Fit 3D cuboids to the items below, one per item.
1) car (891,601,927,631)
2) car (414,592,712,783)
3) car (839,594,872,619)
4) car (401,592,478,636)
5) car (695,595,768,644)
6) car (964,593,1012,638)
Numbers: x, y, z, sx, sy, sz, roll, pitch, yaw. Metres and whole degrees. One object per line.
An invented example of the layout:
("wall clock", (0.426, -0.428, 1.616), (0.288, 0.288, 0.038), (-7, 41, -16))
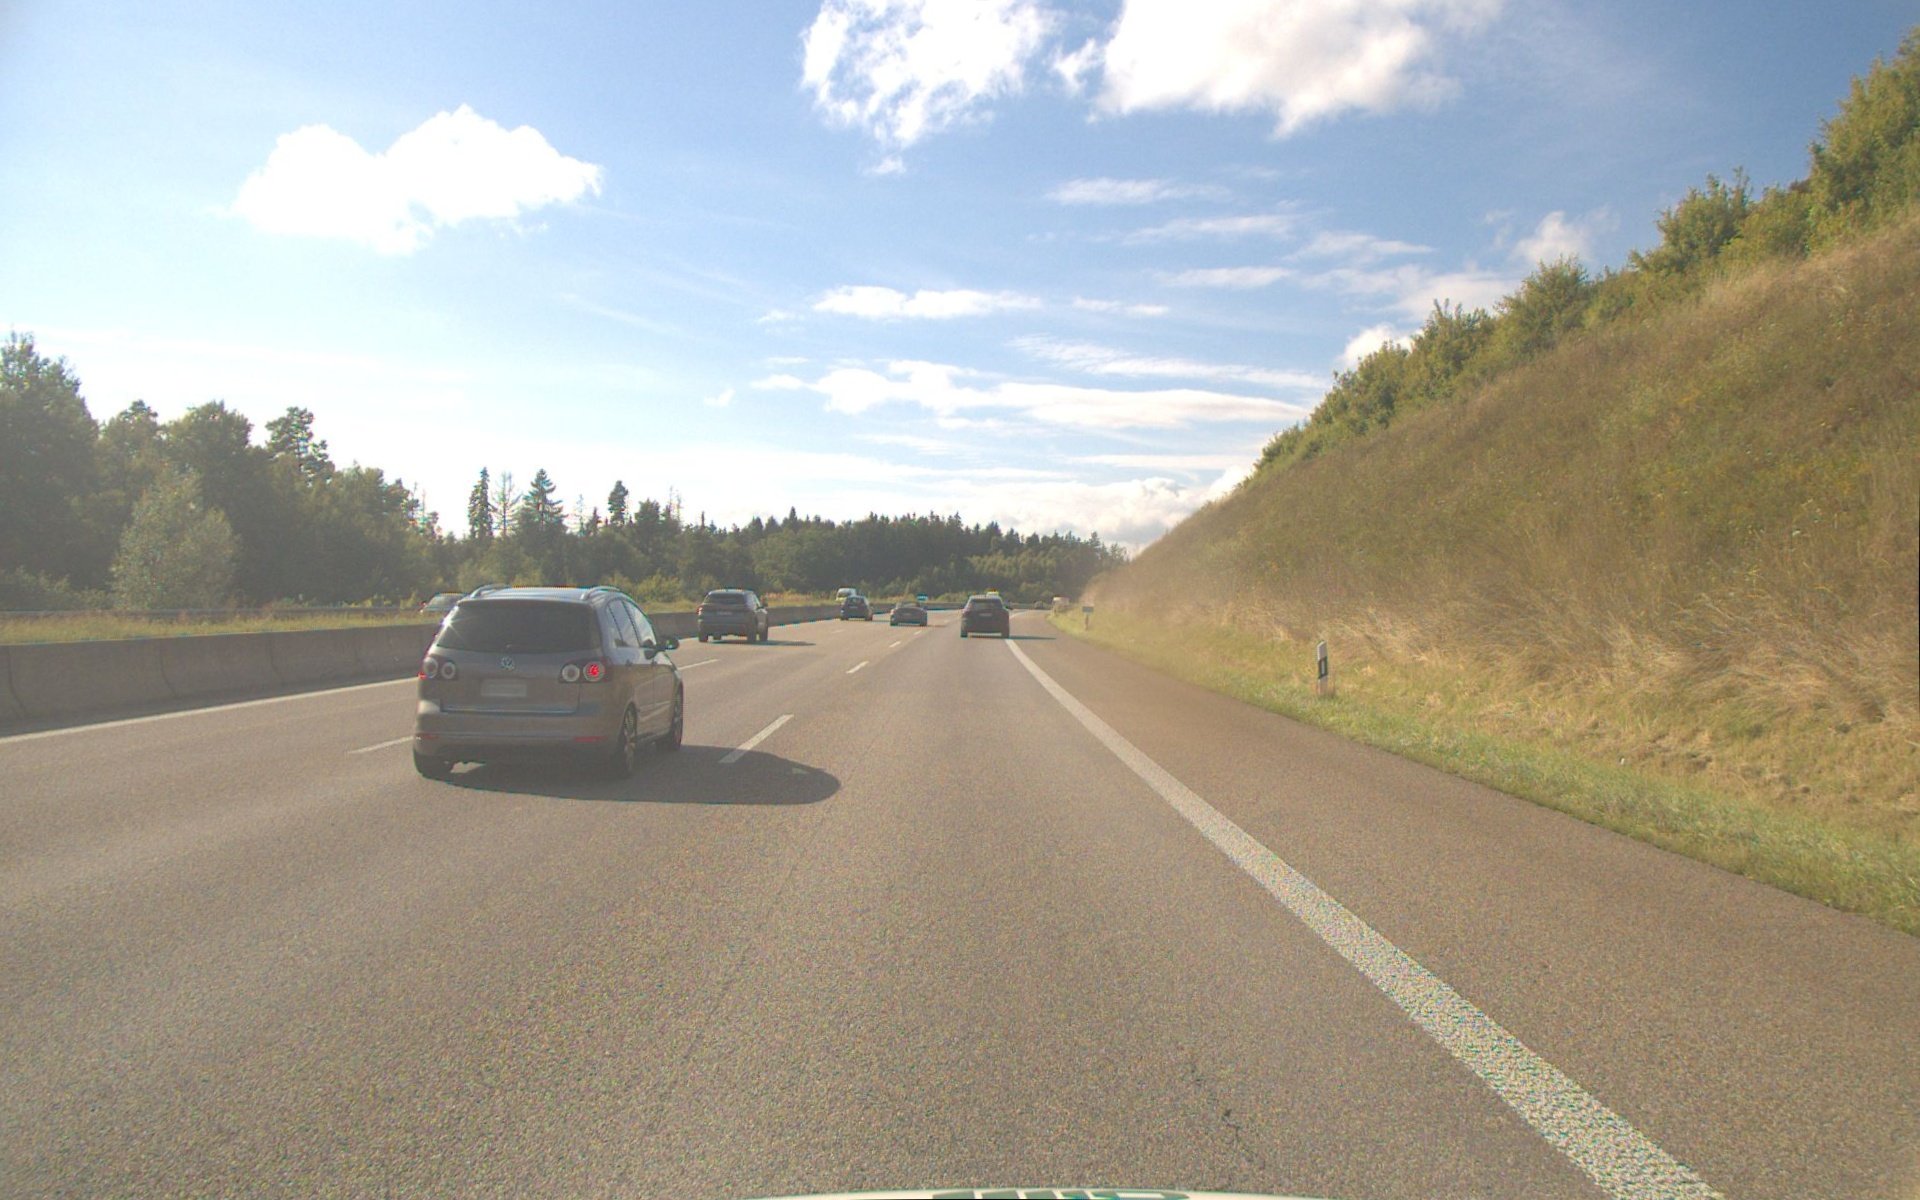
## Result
("car", (-2.715, 0.841, 88.056), (1.835, 1.523, 3.879), (0, 0, -1))
("car", (-3.468, 0.699, 15.185), (1.835, 1.523, 3.879), (0, 0, -1))
("car", (-6.517, 0.419, 103.212), (1.835, 1.523, 3.879), (0, 0, -1))
("car", (-21.937, 0.563, 69.815), (1.953, 1.777, 4.049), (0, 0, 0))
("car", (-7.316, 0.608, 53.303), (1.835, 1.523, 3.879), (0, 0, -1))
("car", (1.095, 0.591, 65.509), (1.835, 1.704, 3.890), (0, 0, 0))
